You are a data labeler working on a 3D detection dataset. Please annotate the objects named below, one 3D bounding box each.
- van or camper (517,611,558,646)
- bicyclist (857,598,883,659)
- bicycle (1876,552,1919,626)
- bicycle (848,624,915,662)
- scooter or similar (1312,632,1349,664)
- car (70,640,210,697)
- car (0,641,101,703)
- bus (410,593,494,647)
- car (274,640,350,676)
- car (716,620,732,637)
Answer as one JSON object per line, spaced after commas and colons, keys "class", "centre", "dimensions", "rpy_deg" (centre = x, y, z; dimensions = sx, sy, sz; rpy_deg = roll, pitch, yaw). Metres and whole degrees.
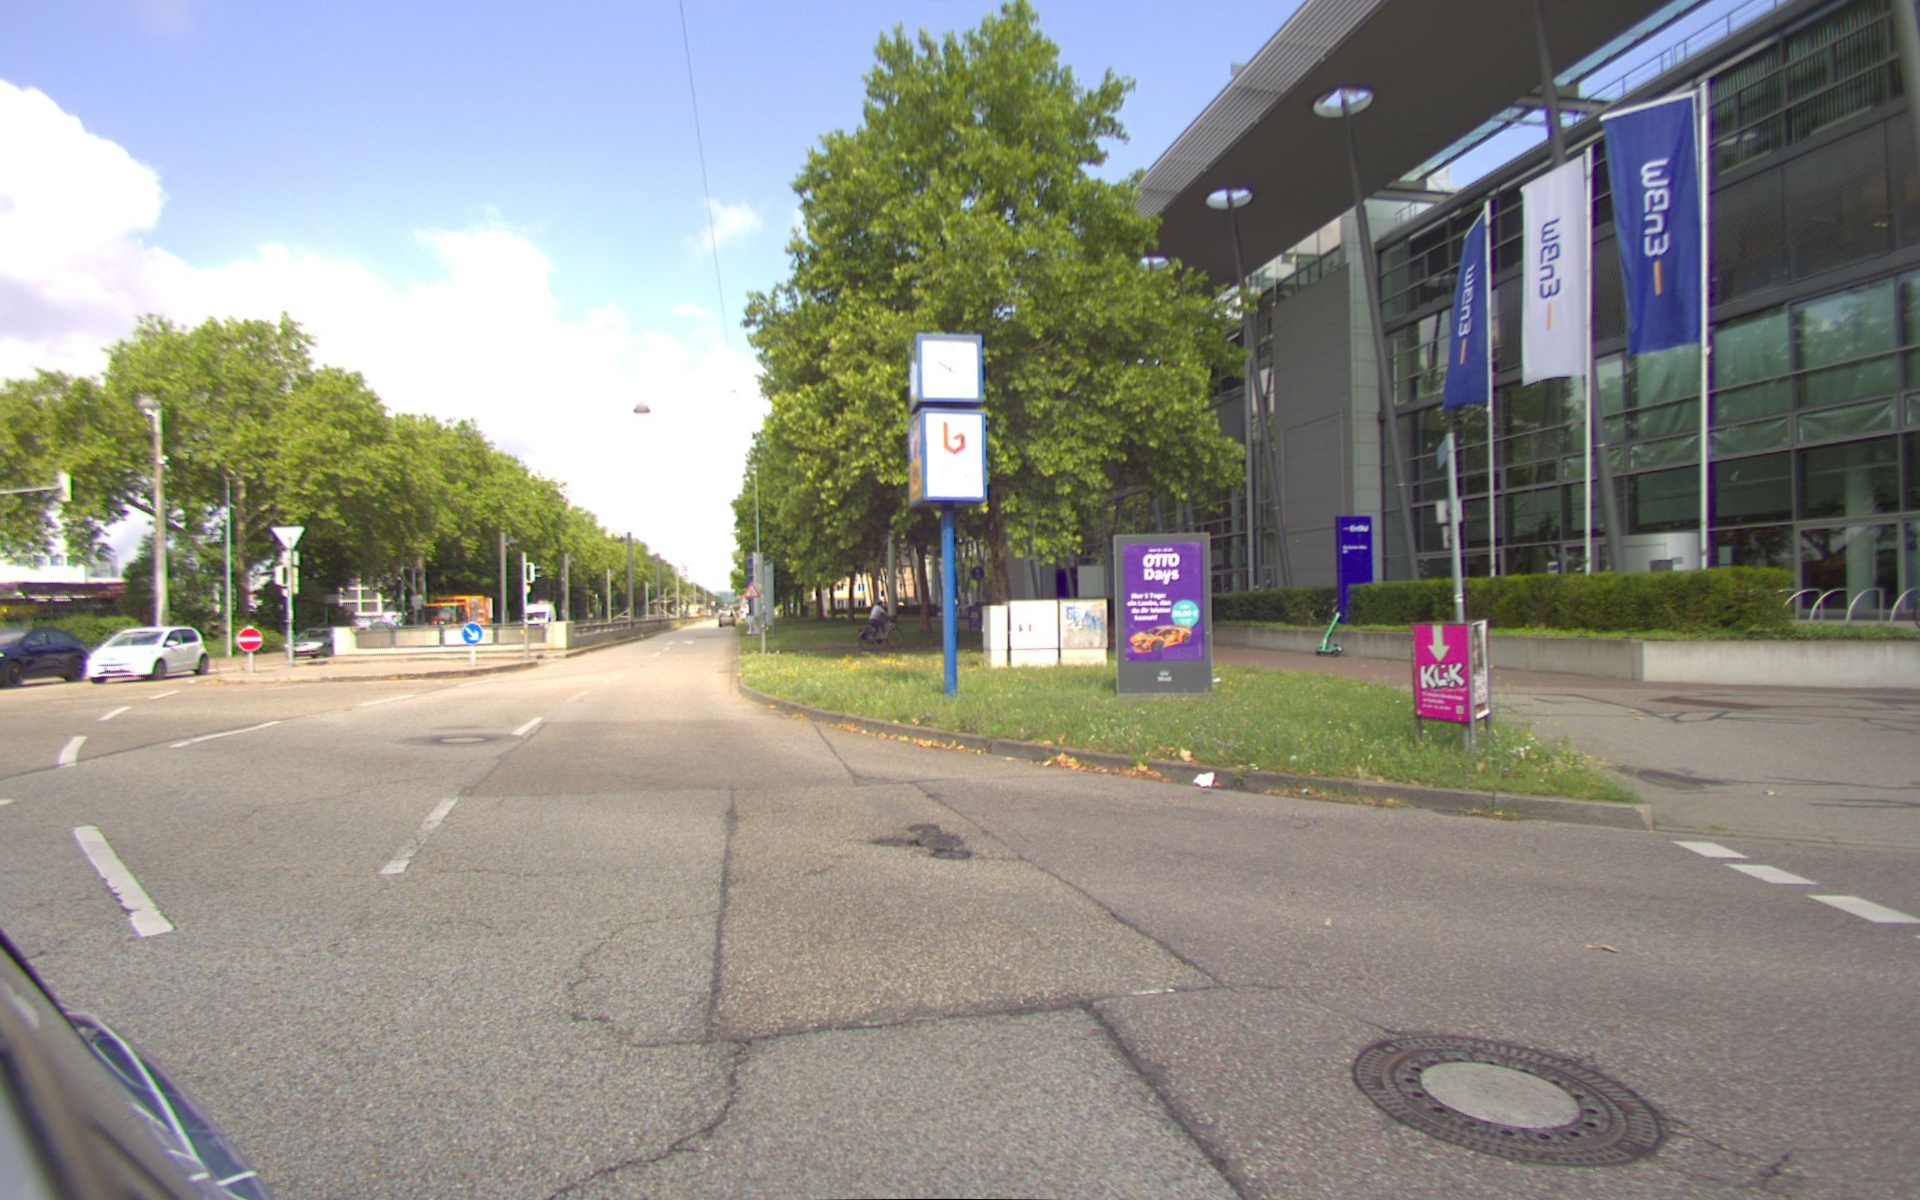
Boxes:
{"class": "van or camper", "centre": [-36.258, 2.403, 87.009], "dimensions": [2.129, 2.806, 5.981], "rpy_deg": [3, -1, -13]}
{"class": "bicyclist", "centre": [-3.149, 0.994, 35.358], "dimensions": [0.718, 2.029, 0.605], "rpy_deg": [2, -13, -19]}
{"class": "bicycle", "centre": [19.338, -0.171, 19.864], "dimensions": [2.107, 1.394, 0.743], "rpy_deg": [3, -1, -5]}
{"class": "bicycle", "centre": [-2.752, 1.485, 35.457], "dimensions": [2.145, 1.094, 0.889], "rpy_deg": [-4, 1, -19]}
{"class": "scooter or similar", "centre": [8.990, 1.164, 24.584], "dimensions": [0.237, 0.718, 1.233], "rpy_deg": [3, -1, -8]}
{"class": "car", "centre": [-23.262, 1.942, 28.879], "dimensions": [1.709, 1.497, 3.611], "rpy_deg": [0, -4, -14]}
{"class": "car", "centre": [-26.037, 1.965, 27.745], "dimensions": [1.861, 1.587, 4.591], "rpy_deg": [-2, -2, -12]}
{"class": "bus", "centre": [-36.197, 1.342, 72.576], "dimensions": [2.701, 3.492, 10.421], "rpy_deg": [3, -1, -12]}
{"class": "car", "centre": [-30.555, 2.709, 47.846], "dimensions": [1.743, 1.475, 4.010], "rpy_deg": [0, 0, -12]}
{"class": "car", "centre": [-23.925, 2.882, 102.541], "dimensions": [1.398, 1.467, 3.165], "rpy_deg": [5, -1, -12]}
